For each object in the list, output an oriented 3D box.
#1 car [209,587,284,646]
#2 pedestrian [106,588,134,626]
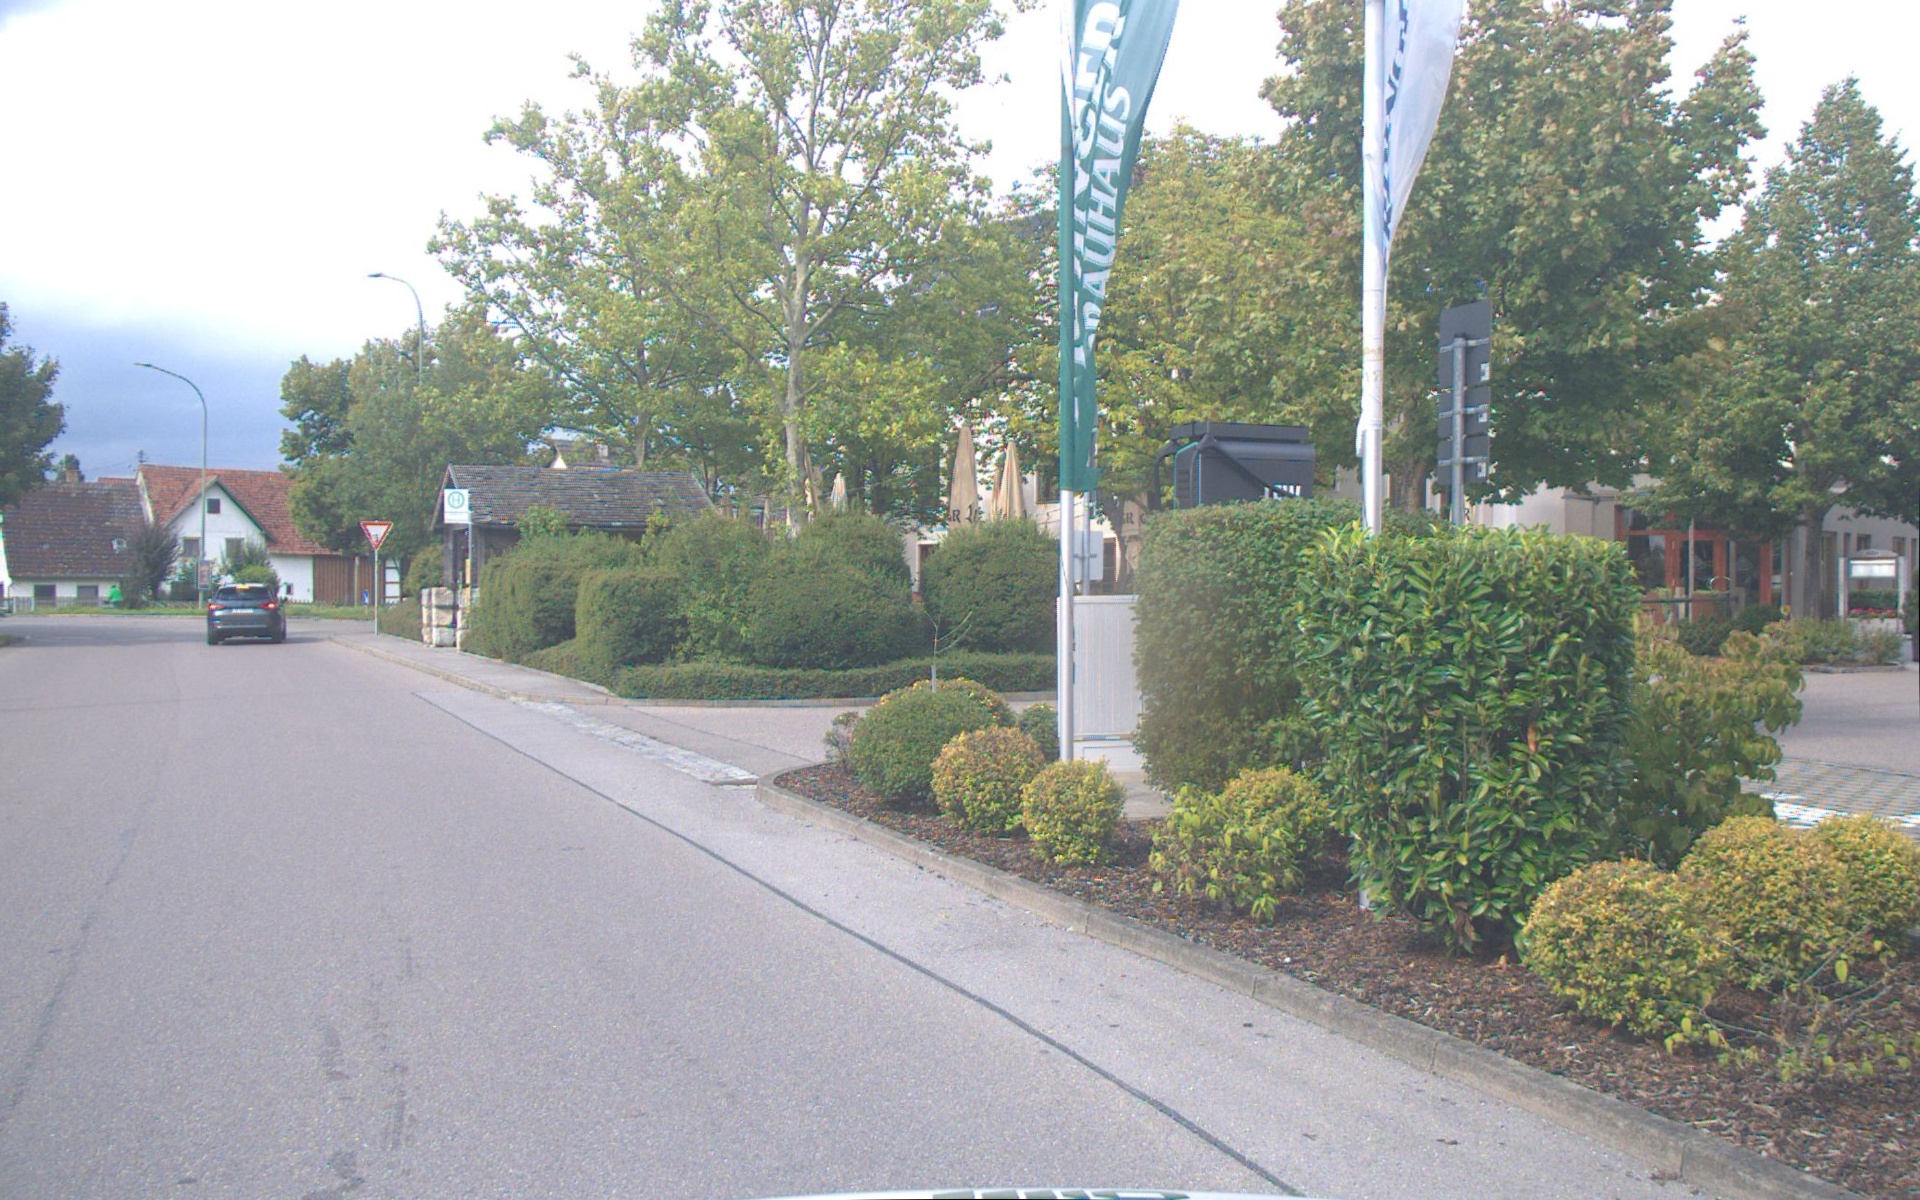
[{"bbox_3d":[-19.048,0.399,44.156,1.775,1.488,3.635,-1,1,-24],"label":"car"},{"bbox_3d":[-38.551,0.329,75.934,0.697,1.694,0.789,0,-4,32],"label":"pedestrian"}]
